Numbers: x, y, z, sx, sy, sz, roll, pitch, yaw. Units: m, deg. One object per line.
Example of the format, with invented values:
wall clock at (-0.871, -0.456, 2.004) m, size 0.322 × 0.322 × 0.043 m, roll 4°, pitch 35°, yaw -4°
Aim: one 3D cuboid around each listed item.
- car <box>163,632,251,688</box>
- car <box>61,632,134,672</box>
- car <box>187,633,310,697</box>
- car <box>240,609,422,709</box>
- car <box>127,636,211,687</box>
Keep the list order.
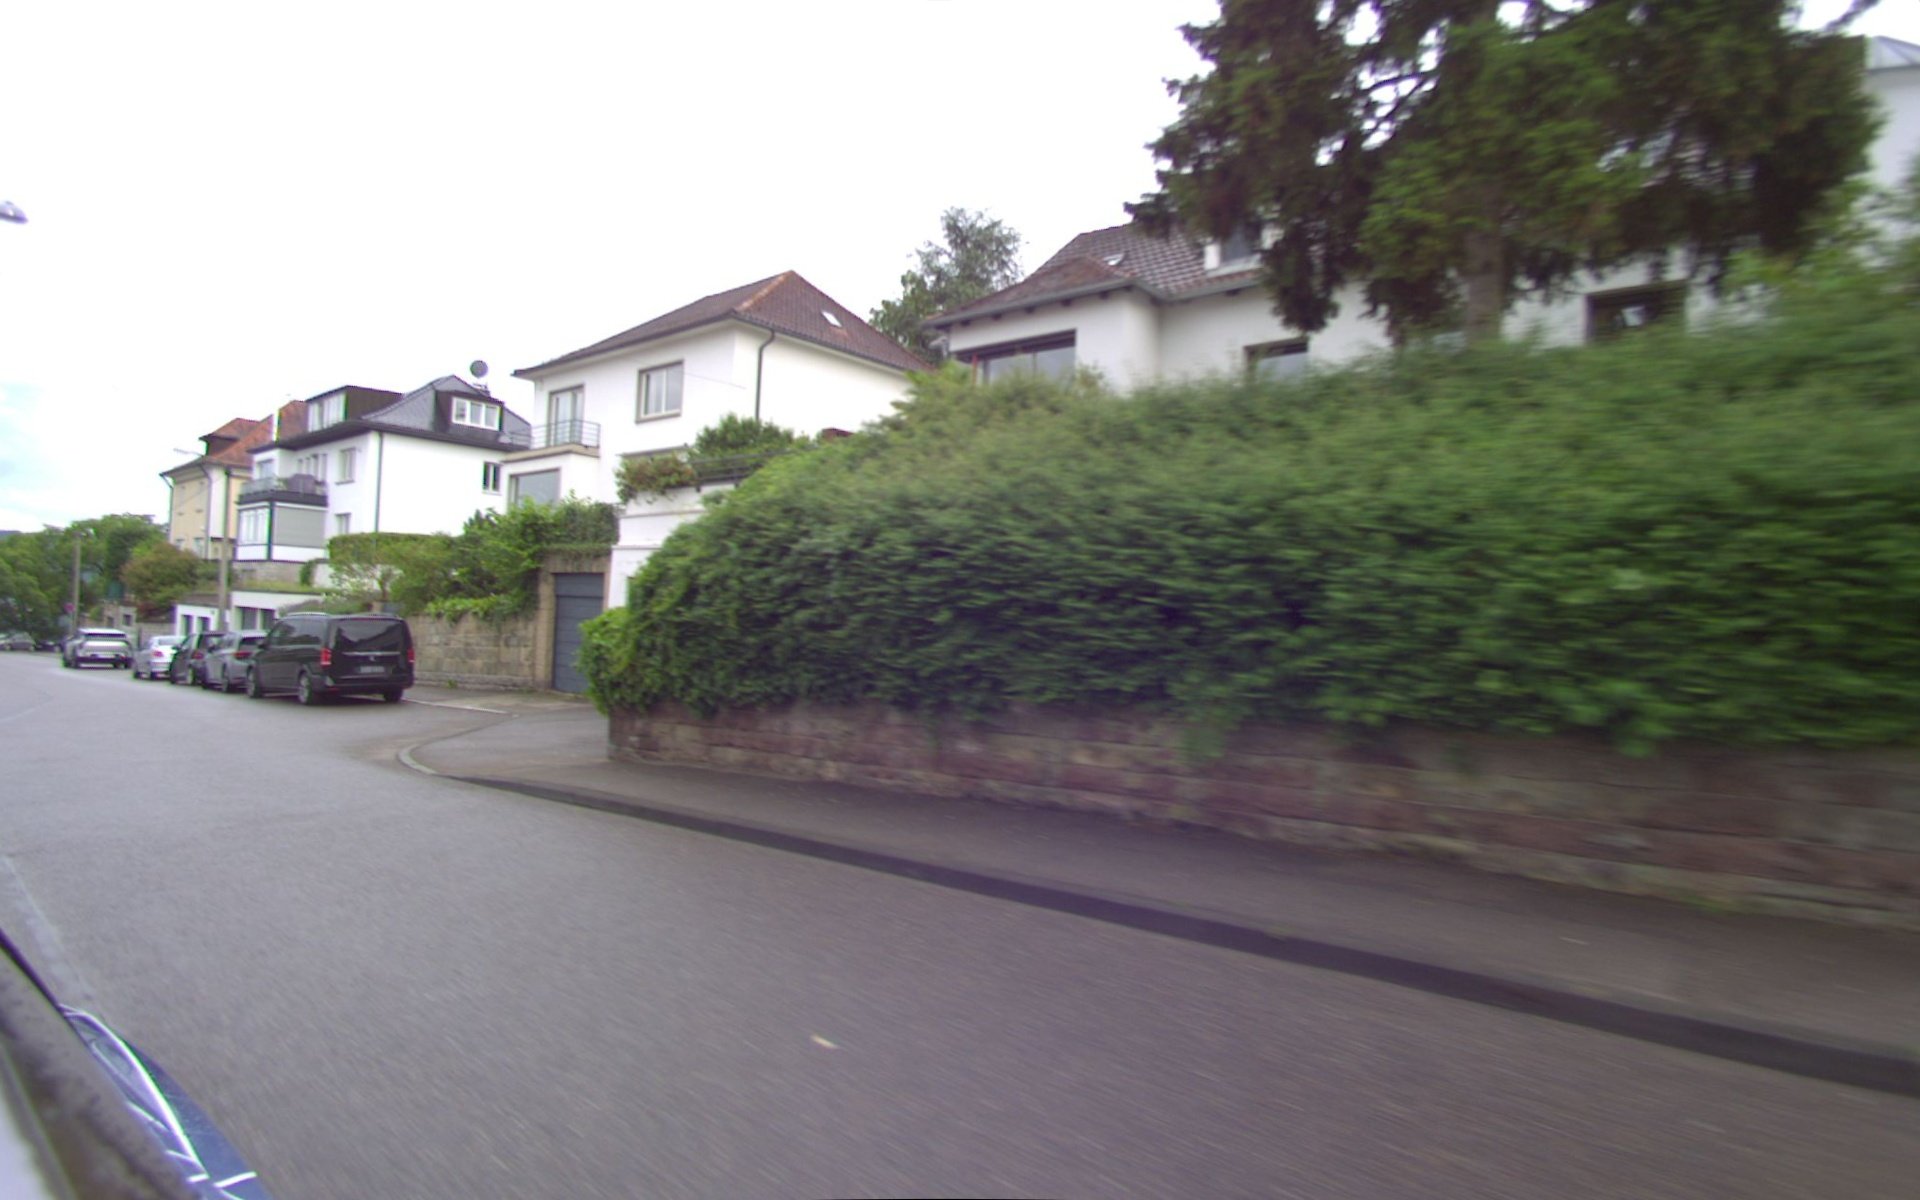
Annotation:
car at (-21.789, 1.687, 29.268) m, size 2.893 × 1.502 × 1.502 m, roll -2°, pitch -2°, yaw 42°
car at (-34.676, 2.055, 40.656) m, size 4.001 × 1.512 × 1.843 m, roll -1°, pitch -2°, yaw 44°
car at (-18.517, 1.628, 26.267) m, size 4.401 × 1.502 × 1.674 m, roll -2°, pitch -2°, yaw 42°
car at (-13.946, 1.244, 22.326) m, size 4.769 × 1.972 × 1.974 m, roll -2°, pitch -2°, yaw 39°
car at (-25.267, 1.908, 32.290) m, size 3.436 × 1.502 × 1.573 m, roll -2°, pitch -2°, yaw 42°
